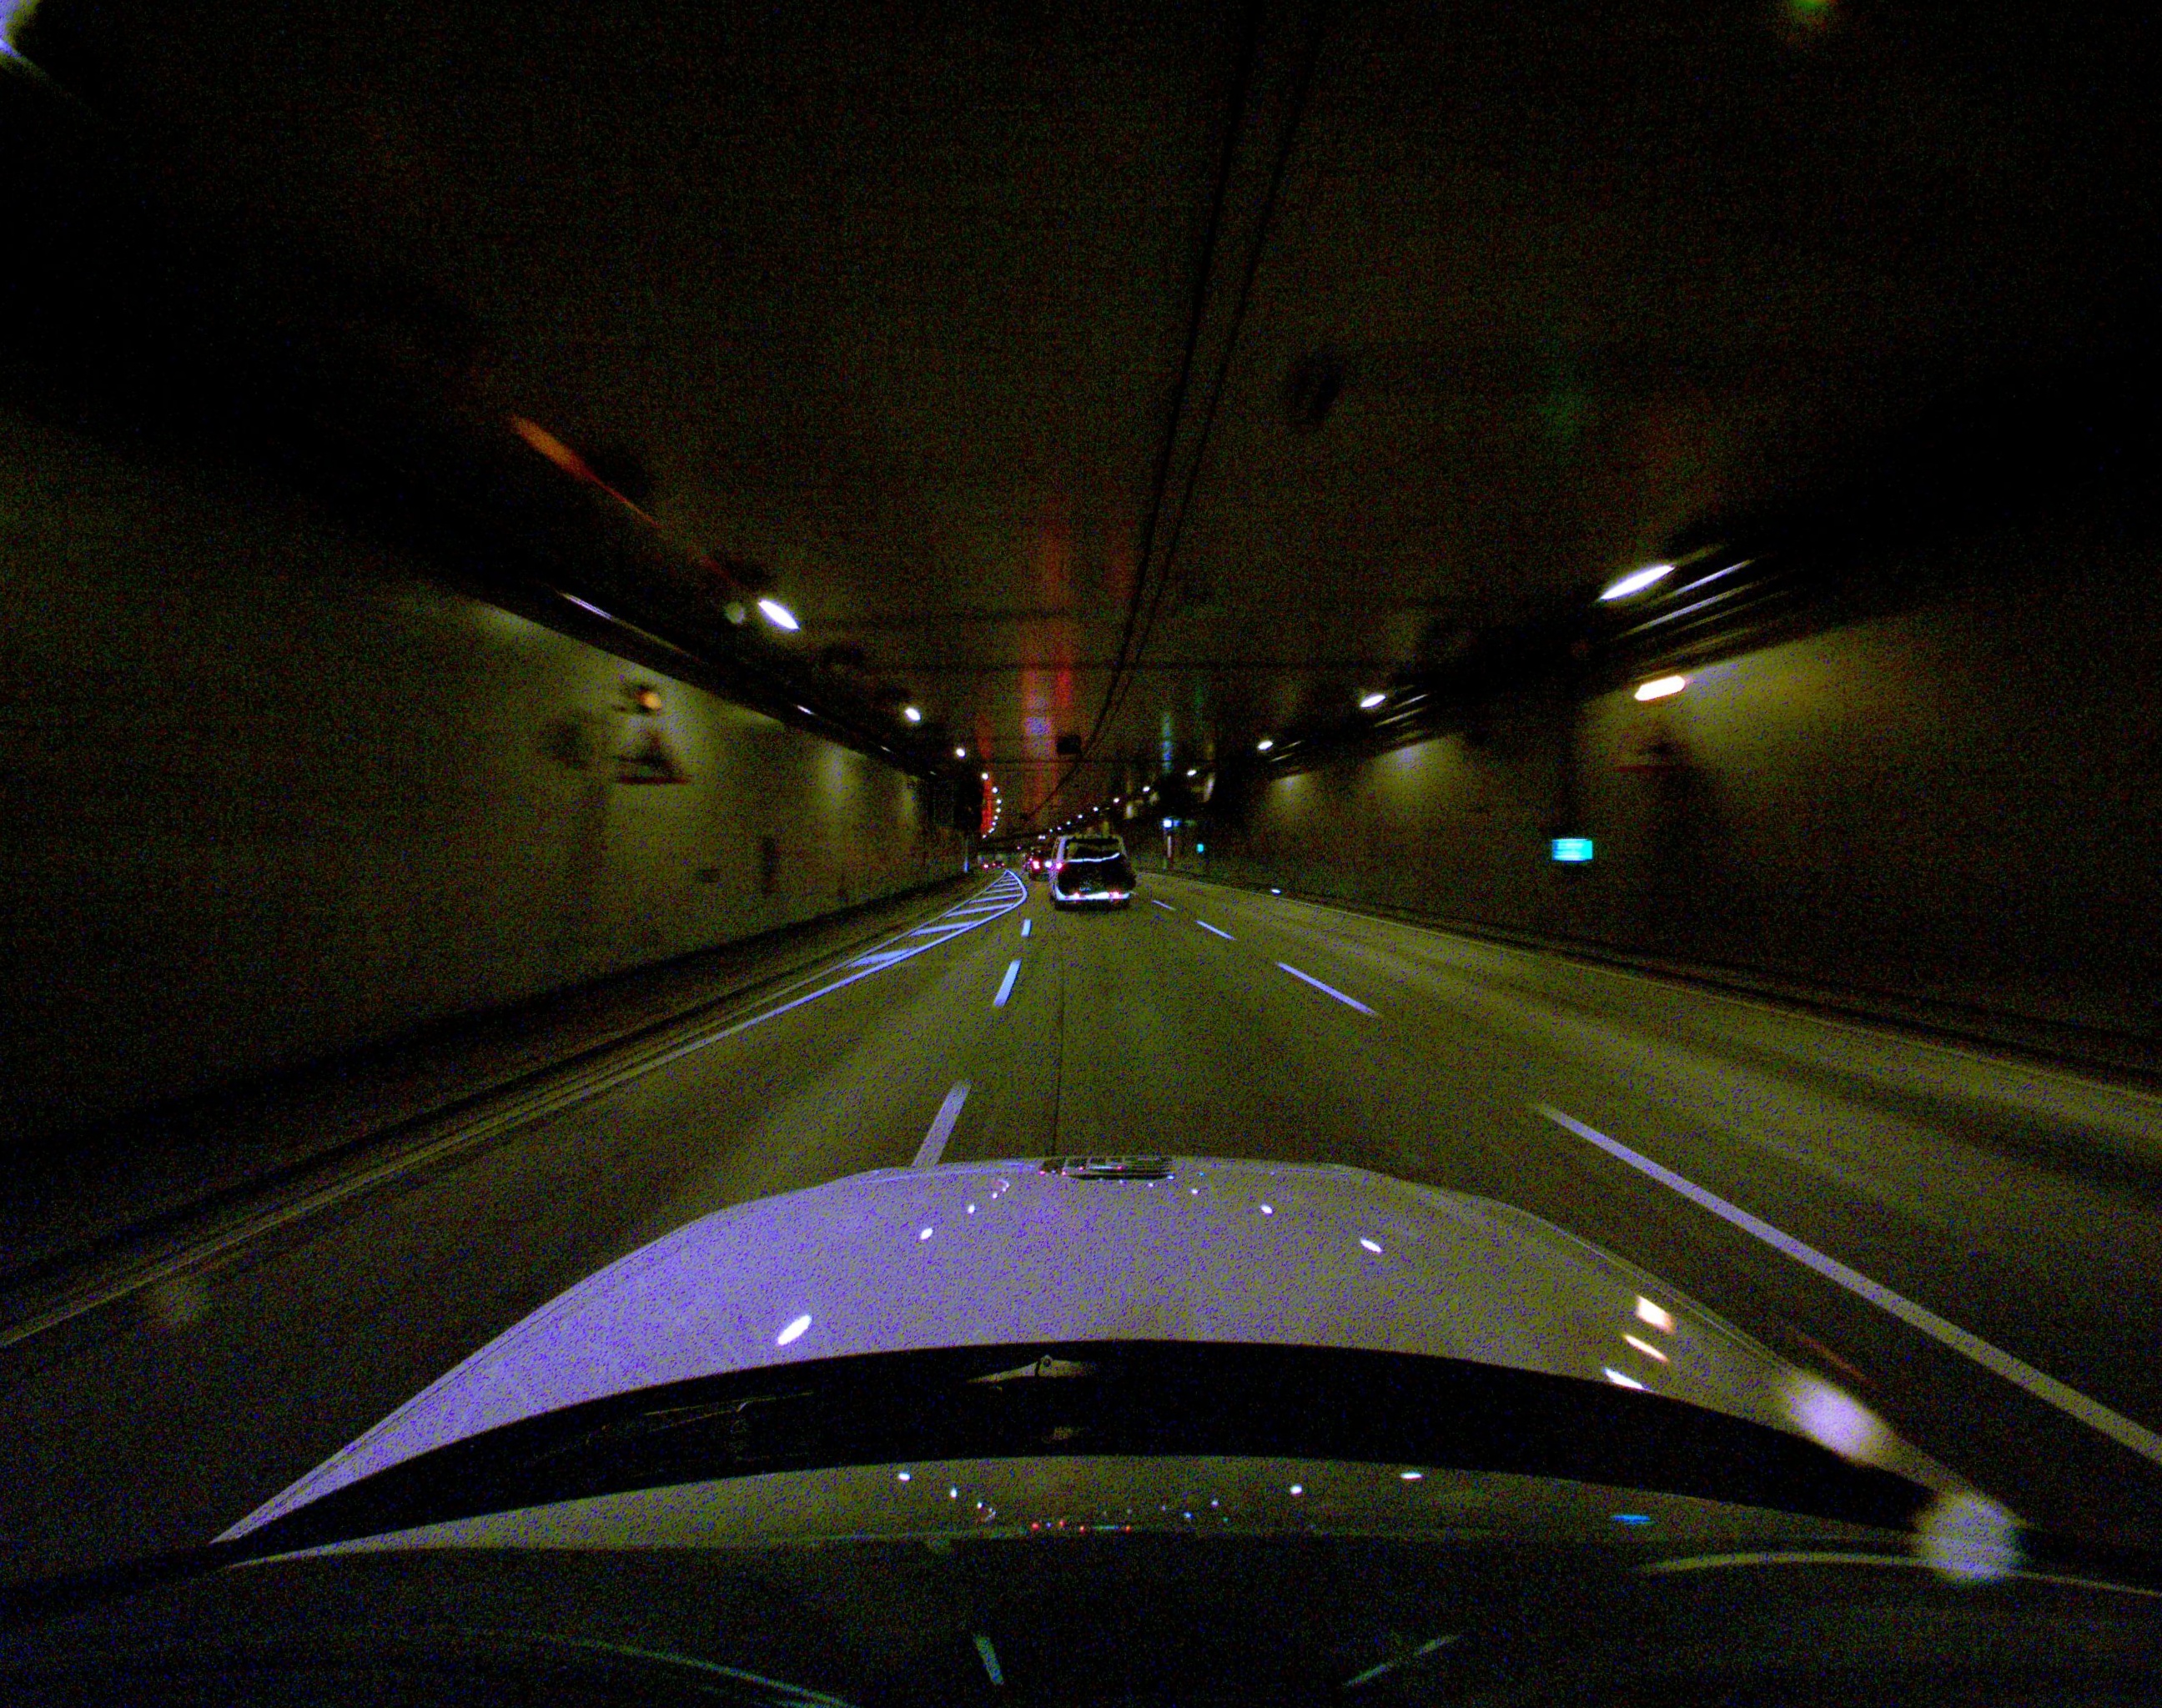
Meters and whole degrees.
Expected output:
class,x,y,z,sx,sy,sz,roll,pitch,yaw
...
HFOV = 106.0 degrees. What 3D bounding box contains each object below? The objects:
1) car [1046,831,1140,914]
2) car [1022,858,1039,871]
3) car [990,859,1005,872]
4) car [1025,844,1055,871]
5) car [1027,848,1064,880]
class,x,y,z,sx,sy,sz,roll,pitch,yaw
car,0.161,0.386,21.258,1.990,1.847,5.294,-1,1,-4
car,-6.500,1.332,104.940,1.822,1.630,3.831,1,-2,-9
car,-11.422,1.593,111.174,1.822,1.630,3.830,1,-2,-9
car,-2.555,0.223,50.417,1.601,1.594,3.347,0,-1,-7
car,-1.652,0.430,37.075,1.600,1.395,3.272,0,0,-4
